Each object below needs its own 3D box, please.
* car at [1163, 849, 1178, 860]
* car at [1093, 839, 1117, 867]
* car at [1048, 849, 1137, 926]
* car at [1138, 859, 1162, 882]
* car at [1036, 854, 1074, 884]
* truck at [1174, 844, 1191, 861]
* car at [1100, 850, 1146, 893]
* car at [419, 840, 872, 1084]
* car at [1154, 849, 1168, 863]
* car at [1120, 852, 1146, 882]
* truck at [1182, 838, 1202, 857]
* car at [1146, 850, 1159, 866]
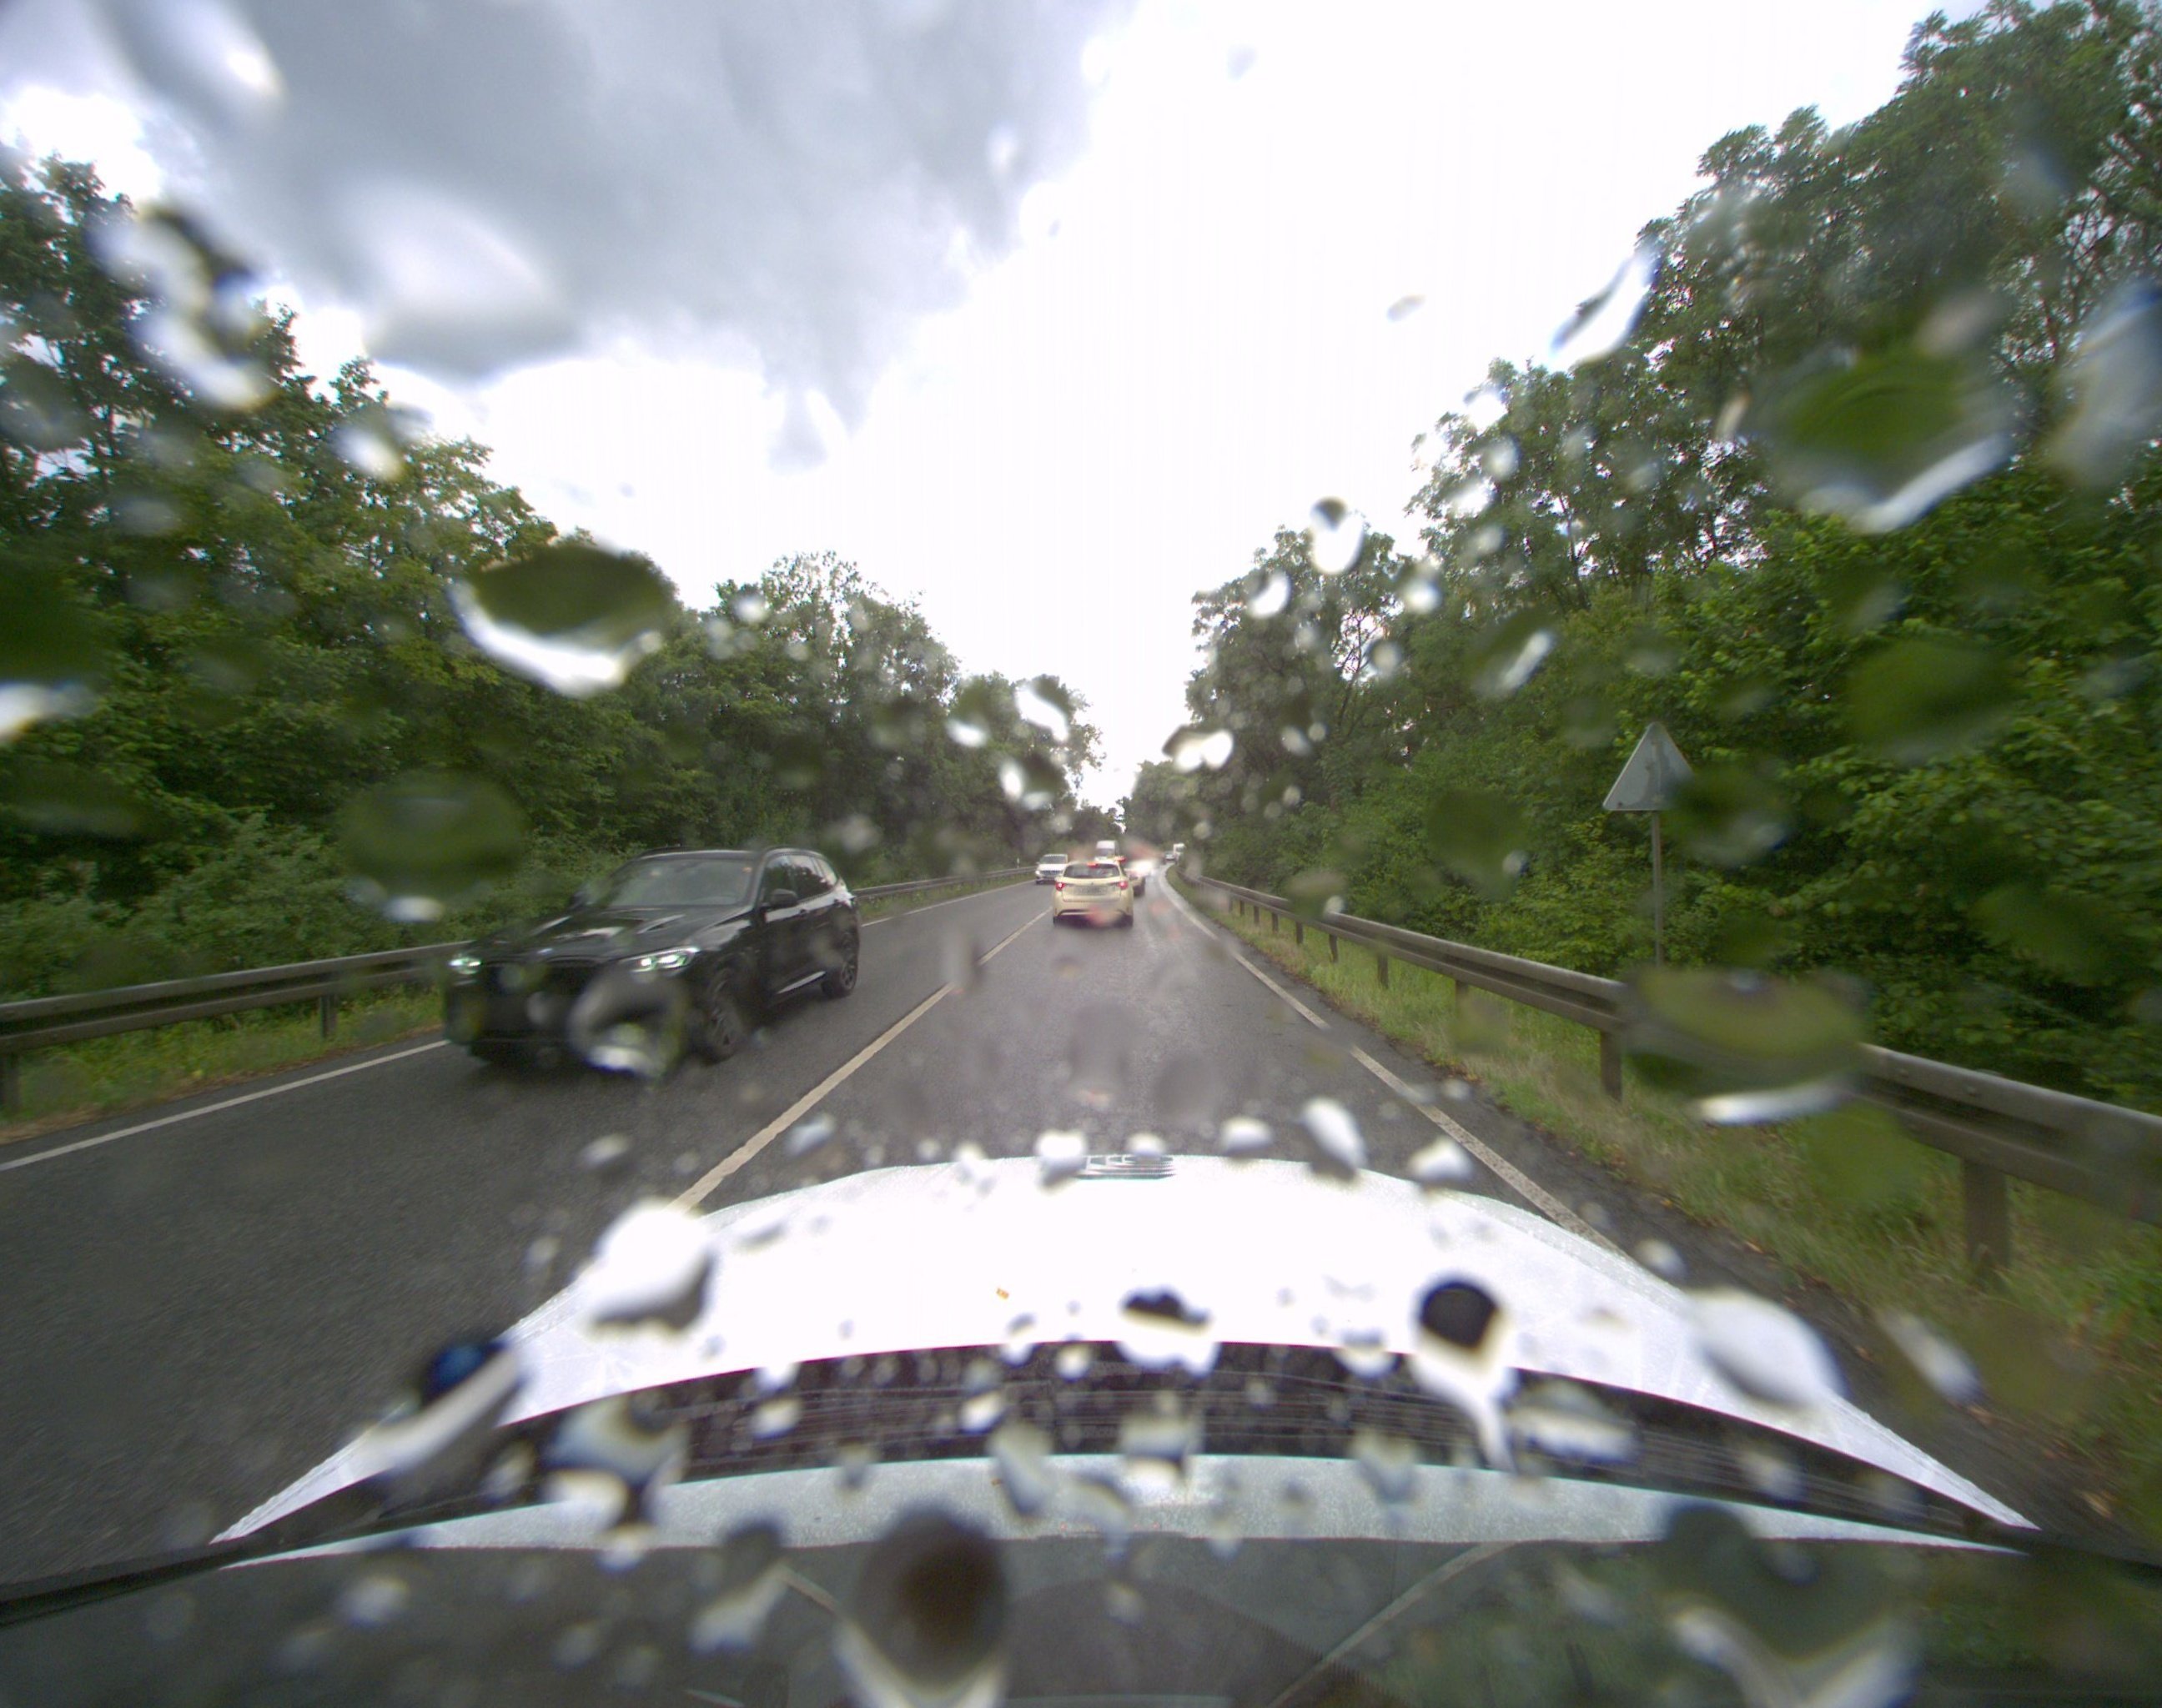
[{"bbox_3d":[12.651,0.106,115.206,1.759,1.547,3.824,-1,-1,10],"label":"car"},{"bbox_3d":[2.412,-0.044,80.586,2.038,2.677,6.178,-1,-1,4],"label":"car"},{"bbox_3d":[0.340,0.720,18.954,1.826,1.580,4.159,0,-1,3],"label":"car"},{"bbox_3d":[4.790,1.129,56.761,1.604,1.547,3.818,-1,-1,4],"label":"car"},{"bbox_3d":[-1.383,0.785,44.741,1.684,1.555,4.446,0,0,3],"label":"car"},{"bbox_3d":[17.151,-0.255,137.562,2.537,2.713,7.546,-1,-1,5],"label":"truck"},{"bbox_3d":[1.641,0.668,31.769,1.661,1.580,3.894,0,-1,3],"label":"car"},{"bbox_3d":[-3.516,0.737,7.679,1.840,1.644,4.300,0,0,2],"label":"car"},{"bbox_3d":[9.492,0.225,96.303,1.608,1.613,3.627,-1,-1,5],"label":"car"},{"bbox_3d":[2.766,0.676,43.538,1.295,1.547,3.262,0,-1,3],"label":"car"},{"bbox_3d":[22.456,-1.297,163.968,3.084,3.680,7.027,-1,-1,15],"label":"truck"},{"bbox_3d":[6.840,0.406,77.638,1.161,1.547,2.609,-1,-1,7],"label":"car"}]
